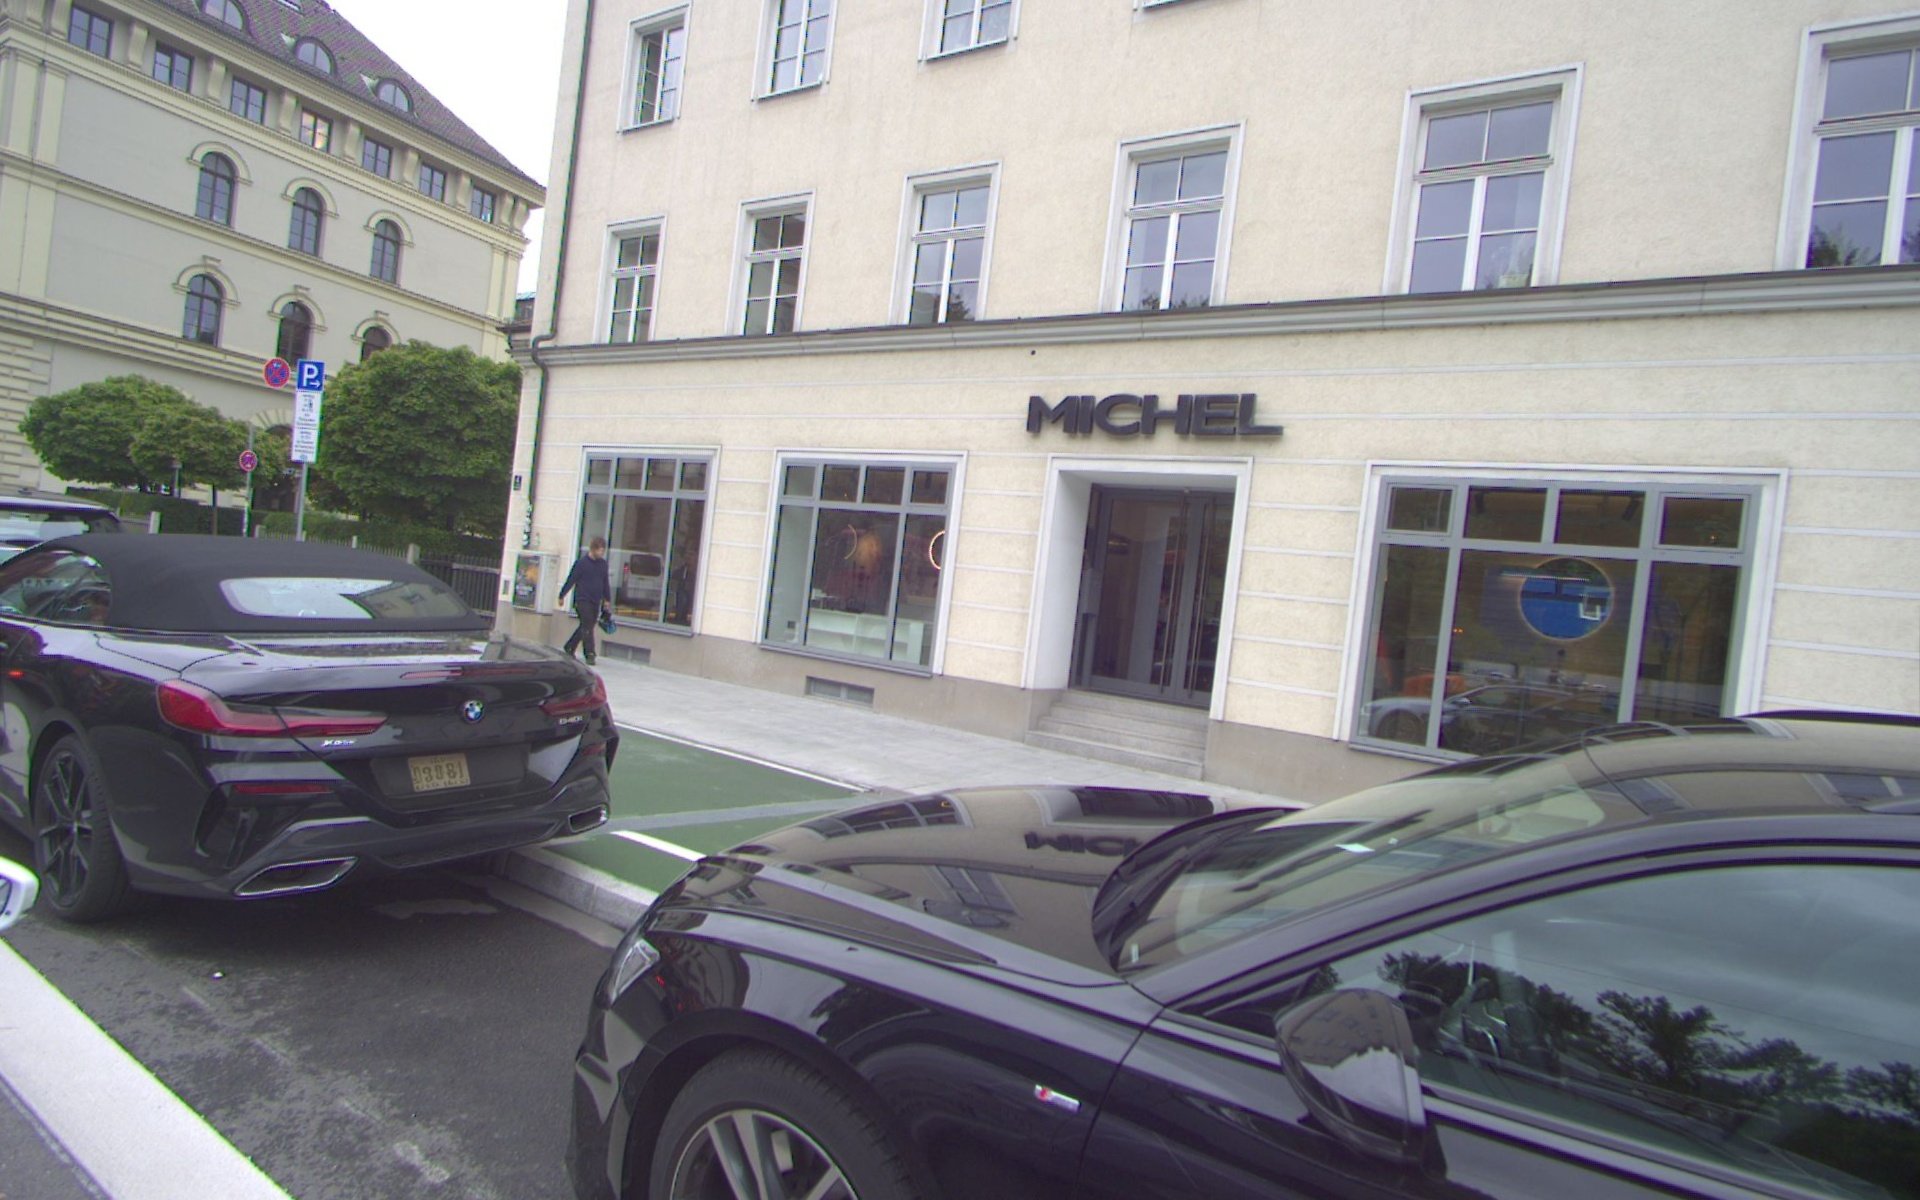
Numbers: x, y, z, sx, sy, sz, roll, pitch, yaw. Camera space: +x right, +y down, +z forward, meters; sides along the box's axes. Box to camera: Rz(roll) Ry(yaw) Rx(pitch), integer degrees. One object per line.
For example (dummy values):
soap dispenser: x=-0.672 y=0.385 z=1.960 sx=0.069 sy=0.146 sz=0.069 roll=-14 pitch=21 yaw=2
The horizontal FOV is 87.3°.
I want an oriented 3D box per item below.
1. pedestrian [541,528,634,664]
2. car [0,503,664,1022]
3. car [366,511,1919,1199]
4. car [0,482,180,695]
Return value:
pedestrian: x=-5.414 y=-0.051 z=14.635 sx=0.764 sy=1.859 sz=0.791 roll=8 pitch=1 yaw=33
car: x=-3.632 y=0.390 z=4.821 sx=4.353 sy=1.402 sz=1.683 roll=7 pitch=-1 yaw=32
car: x=1.288 y=0.886 z=1.696 sx=4.607 sy=1.497 sz=1.805 roll=7 pitch=-1 yaw=30
car: x=-8.109 y=-0.231 z=8.219 sx=3.368 sy=1.514 sz=1.612 roll=7 pitch=0 yaw=32
